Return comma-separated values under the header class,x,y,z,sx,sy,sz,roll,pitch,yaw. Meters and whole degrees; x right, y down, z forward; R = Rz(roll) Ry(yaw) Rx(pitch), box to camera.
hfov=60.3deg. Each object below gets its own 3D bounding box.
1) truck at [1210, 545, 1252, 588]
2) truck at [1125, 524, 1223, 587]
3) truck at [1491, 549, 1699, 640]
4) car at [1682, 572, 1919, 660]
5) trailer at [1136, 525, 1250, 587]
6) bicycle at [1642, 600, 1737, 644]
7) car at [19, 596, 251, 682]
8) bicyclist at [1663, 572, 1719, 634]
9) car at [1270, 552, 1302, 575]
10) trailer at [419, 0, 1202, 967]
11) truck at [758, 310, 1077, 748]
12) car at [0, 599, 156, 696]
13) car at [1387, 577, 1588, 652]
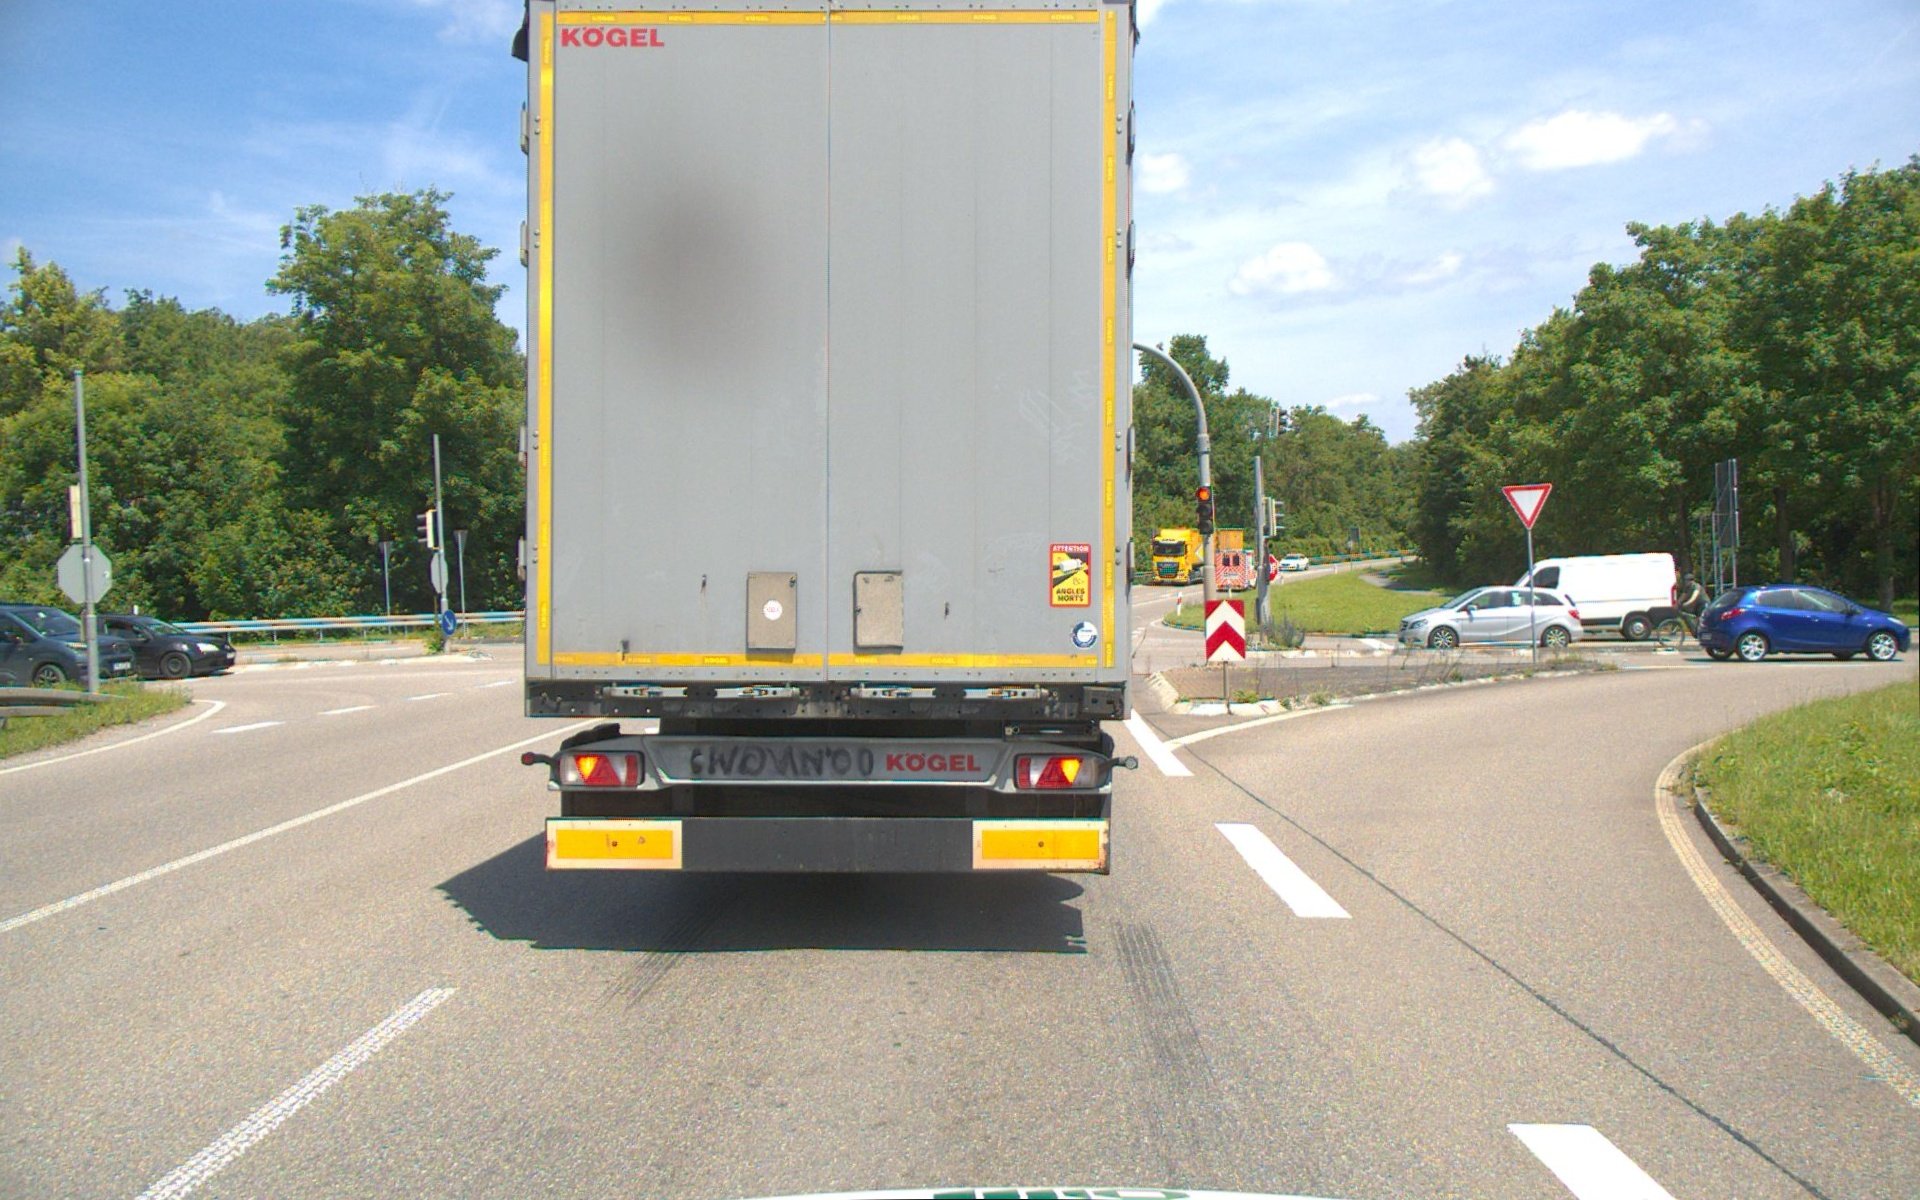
class,x,y,z,sx,sy,sz,roll,pitch,yaw
truck,18.194,-2.222,110.752,2.440,2.775,6.036,0,1,12
truck,16.172,-3.273,123.675,4.907,4.438,11.769,0,1,19
truck,16.923,-0.127,44.357,5.036,2.336,2.001,0,-2,16
car,16.478,0.337,32.493,3.766,1.641,1.881,0,-2,1
trailer,18.772,-3.441,131.121,4.907,4.438,20.845,0,1,19
bicycle,17.605,0.533,39.918,1.949,1.013,0.796,1,-2,-4
car,-17.989,0.836,36.156,4.143,1.801,2.002,-1,-1,9
bicyclist,17.652,0.083,39.940,0.985,1.474,0.795,1,-2,-3
car,30.055,-3.372,152.293,1.954,2.048,3.998,0,1,25
trailer,-0.458,-0.671,12.629,2.988,4.104,12.560,0,0,1
truck,-0.339,-0.682,18.886,2.975,4.104,6.630,0,0,1
car,-18.092,0.911,32.021,4.143,1.801,2.002,-1,-1,9
car,12.791,0.365,40.315,4.334,1.749,2.001,0,-2,4
